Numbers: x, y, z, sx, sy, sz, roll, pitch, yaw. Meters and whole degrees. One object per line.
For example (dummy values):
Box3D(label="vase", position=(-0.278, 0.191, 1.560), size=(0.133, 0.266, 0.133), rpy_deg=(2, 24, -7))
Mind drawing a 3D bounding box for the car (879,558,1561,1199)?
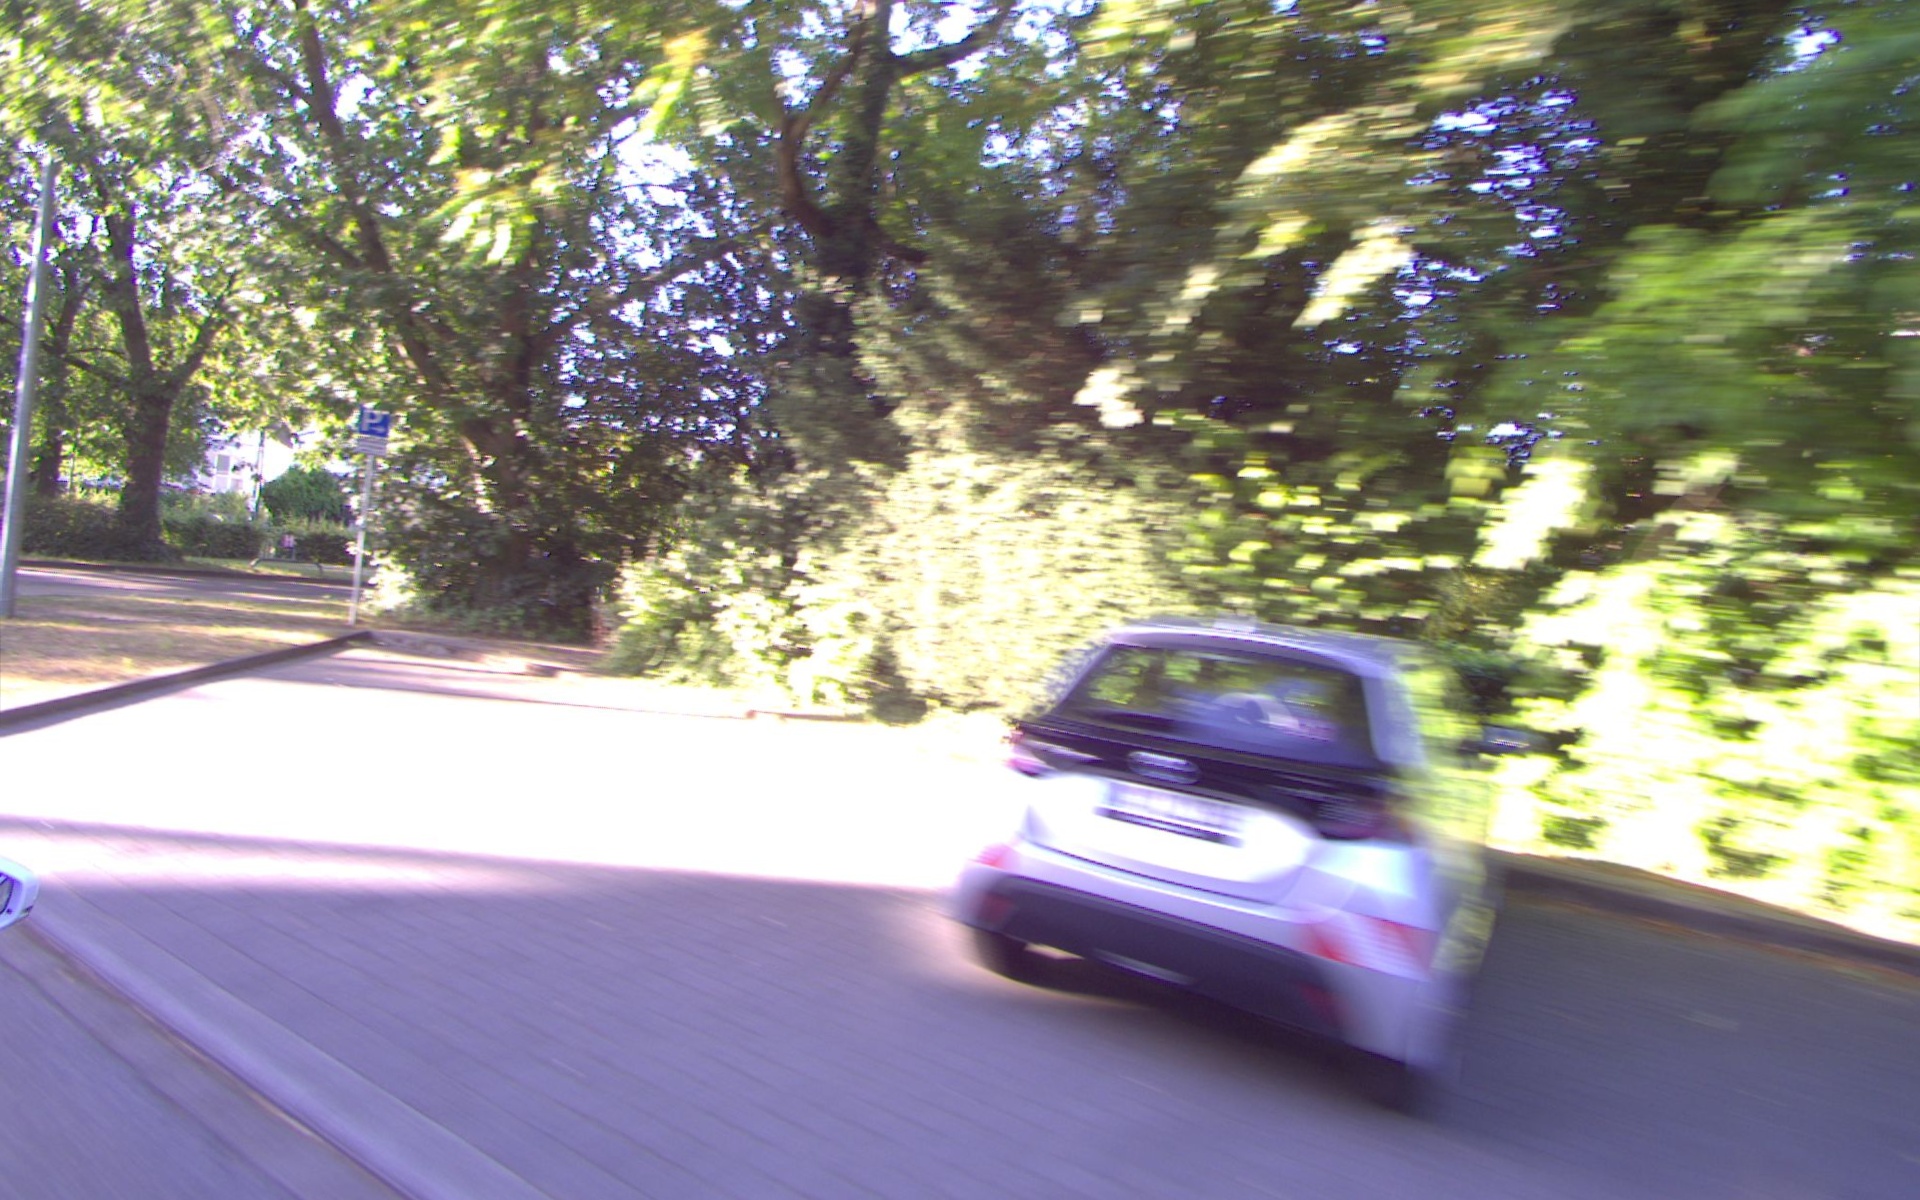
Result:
Box3D(label="car", position=(1.595, 0.791, 4.705), size=(1.707, 1.567, 3.985), rpy_deg=(7, 2, 34))
